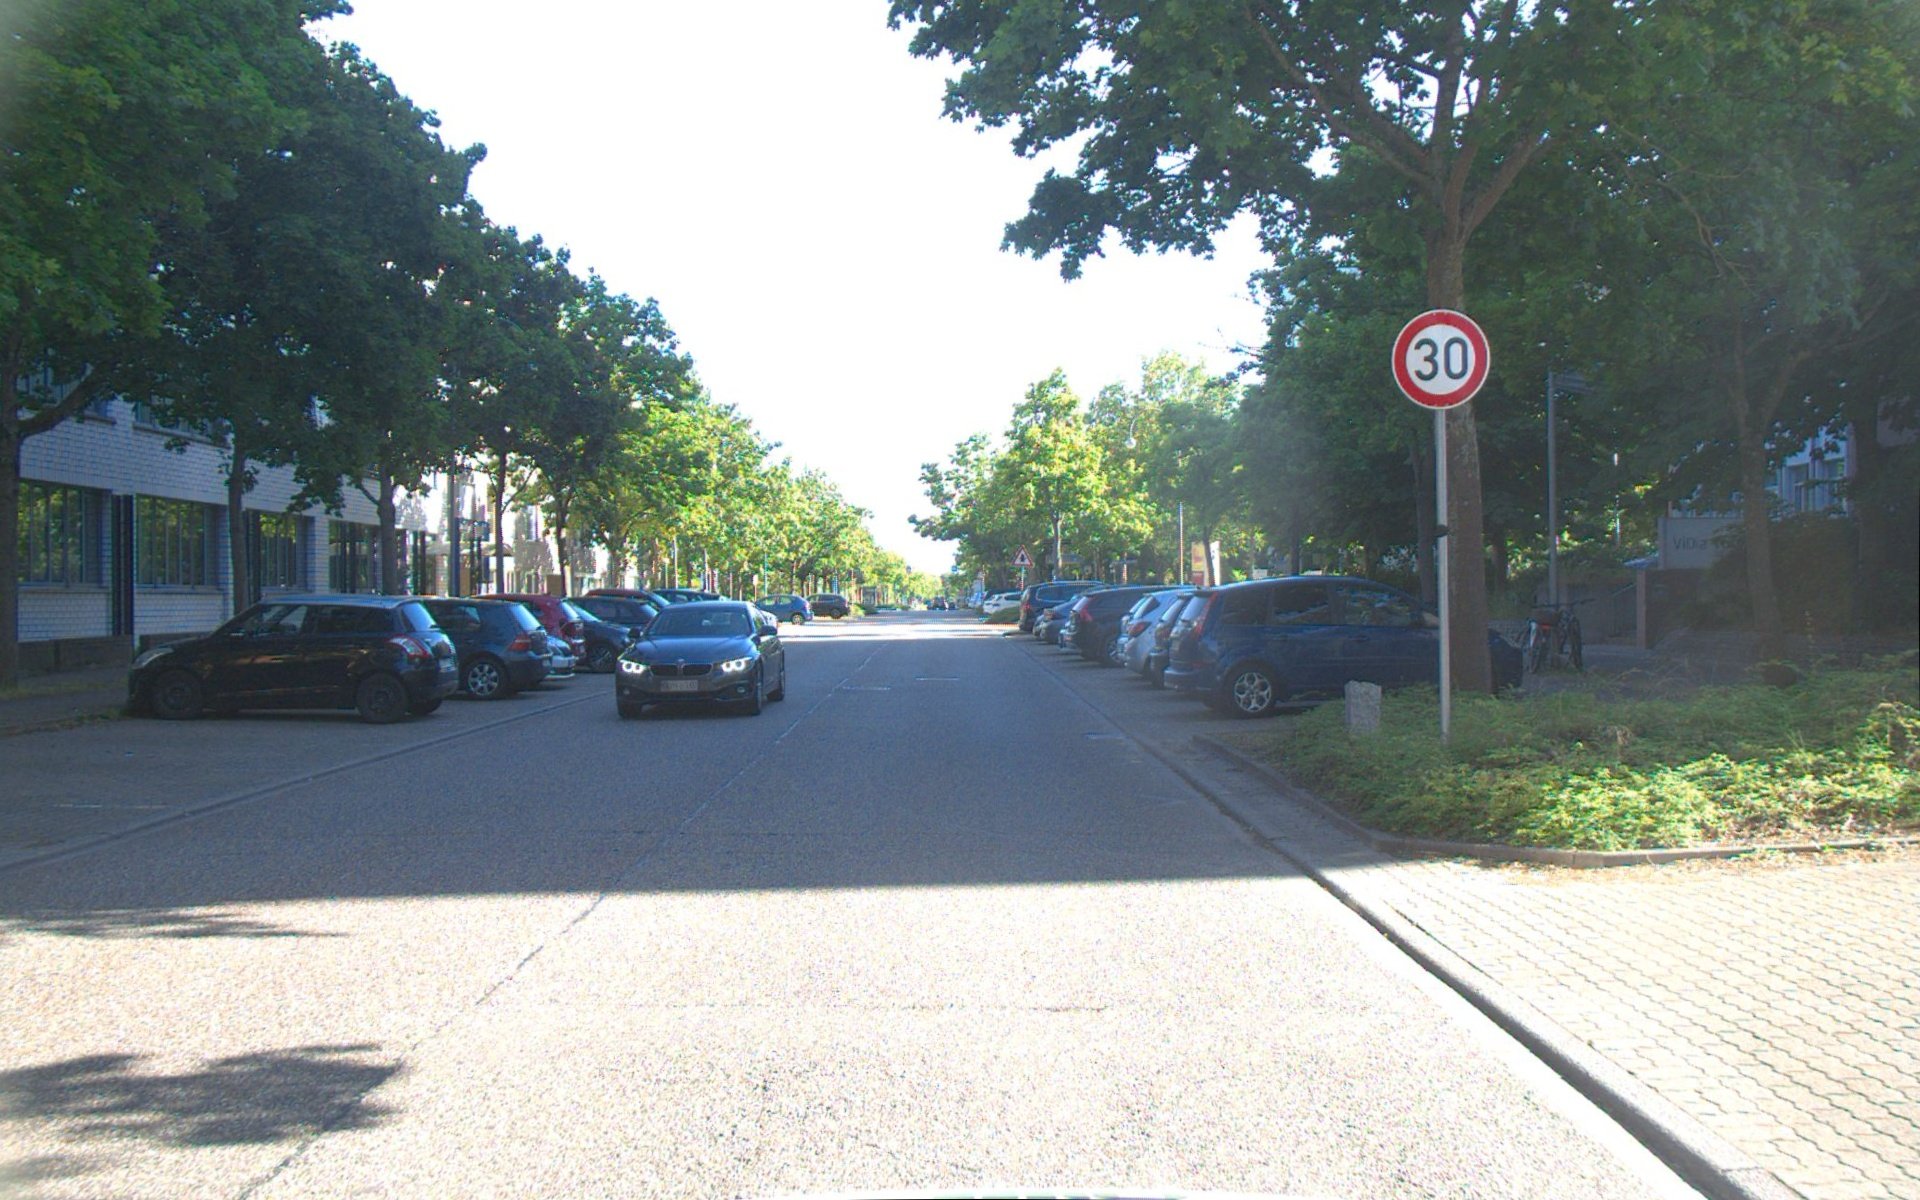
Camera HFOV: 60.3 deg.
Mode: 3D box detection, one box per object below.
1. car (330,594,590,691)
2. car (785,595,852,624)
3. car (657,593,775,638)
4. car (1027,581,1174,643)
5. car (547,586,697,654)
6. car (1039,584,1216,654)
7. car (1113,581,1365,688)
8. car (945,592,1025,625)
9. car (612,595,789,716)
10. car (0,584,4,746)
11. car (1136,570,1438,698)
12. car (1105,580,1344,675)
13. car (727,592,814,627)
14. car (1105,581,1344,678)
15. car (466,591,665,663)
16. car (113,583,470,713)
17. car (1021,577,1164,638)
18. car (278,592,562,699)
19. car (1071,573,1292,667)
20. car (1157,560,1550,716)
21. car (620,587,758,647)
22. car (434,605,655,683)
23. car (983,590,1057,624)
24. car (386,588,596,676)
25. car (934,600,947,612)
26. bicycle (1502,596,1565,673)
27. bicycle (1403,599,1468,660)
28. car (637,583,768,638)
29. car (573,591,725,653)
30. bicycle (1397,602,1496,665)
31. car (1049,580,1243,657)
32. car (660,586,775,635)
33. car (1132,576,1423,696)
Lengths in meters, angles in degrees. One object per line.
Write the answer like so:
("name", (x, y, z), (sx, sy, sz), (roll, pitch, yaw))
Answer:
("car", (-8.217, 0.685, 27.450), (3.789, 1.482, 1.753), (1, 1, -4))
("car", (-8.693, 0.592, 101.662), (3.906, 1.713, 2.000), (-1, 0, -1))
("car", (-8.464, 0.546, 57.650), (3.907, 1.507, 1.679), (0, 0, -3))
("car", (3.996, 0.351, 47.481), (3.964, 1.609, 1.640), (-2, -1, -4))
("car", (-8.645, 0.526, 42.465), (3.468, 1.686, 1.761), (0, -1, 1))
("car", (3.969, 0.447, 39.450), (3.964, 1.517, 1.549), (-2, -1, -4))
("car", (4.286, 0.519, 25.721), (3.563, 1.492, 1.632), (-2, 0, -4))
("car", (1.280, 0.450, 85.247), (3.910, 1.653, 1.997), (0, 0, -6))
("car", (-3.313, 0.663, 21.832), (1.776, 1.440, 4.106), (0, 0, -1))
("car", (-8.361, 0.645, 10.548), (3.509, 1.577, 1.636), (0, -3, -3))
("car", (4.516, 0.453, 23.260), (3.804, 1.553, 1.895), (-3, 0, -1))
("car", (4.511, 0.464, 28.633), (3.787, 1.493, 1.966), (-1, 0, -1))
("car", (-8.778, 0.423, 76.758), (3.909, 1.559, 1.616), (-1, 0, -5))
("car", (4.467, 0.490, 28.266), (3.678, 1.474, 1.878), (-2, -1, -4))
("car", (-8.360, 0.579, 35.335), (3.909, 1.431, 1.603), (1, -1, -6))
("car", (-8.061, 0.567, 20.177), (3.657, 1.489, 1.676), (0, 0, -2))
("car", (3.787, 0.213, 47.619), (3.818, 1.685, 1.856), (0, 0, -6))
("car", (-8.019, 0.669, 24.798), (3.685, 1.470, 1.631), (1, -1, -1))
("car", (4.328, 0.393, 32.834), (4.160, 1.581, 1.921), (-3, 0, 4))
("car", (4.596, 0.432, 19.737), (4.183, 1.662, 1.857), (-1, 0, -3))
("car", (-8.122, 0.507, 49.839), (3.906, 1.750, 1.708), (0, 0, -2))
("car", (-8.094, 0.850, 32.450), (3.907, 1.437, 1.665), (1, -1, -3))
("car", (3.299, 0.368, 91.579), (3.910, 1.824, 1.997), (0, 0, -6))
("car", (-8.385, 0.563, 29.791), (3.352, 1.489, 1.694), (1, 0, -6))
("car", (-2.829, 0.869, 238.464), (1.894, 1.625, 4.365), (-1, 0, -1))
("bicycle", (8.350, 0.485, 24.144), (0.371, 1.065, 1.886), (-2, 0, 5))
("bicycle", (8.835, 0.533, 30.787), (0.372, 1.097, 1.782), (0, 0, -12))
("car", (-8.389, 0.324, 54.051), (3.904, 1.683, 1.861), (-1, 0, 2))
("car", (-8.748, 0.637, 46.740), (3.904, 1.614, 1.765), (-1, -2, 2))
("bicycle", (8.659, 0.586, 29.500), (0.377, 1.097, 1.759), (0, -1, -42))
("car", (4.034, 0.393, 36.195), (3.968, 1.619, 1.547), (-1, 0, -8))
("car", (-8.309, 0.366, 56.960), (3.817, 1.640, 1.856), (0, 0, -6))
("car", (4.344, 0.485, 23.072), (3.663, 1.492, 1.910), (-2, 0, 0))
